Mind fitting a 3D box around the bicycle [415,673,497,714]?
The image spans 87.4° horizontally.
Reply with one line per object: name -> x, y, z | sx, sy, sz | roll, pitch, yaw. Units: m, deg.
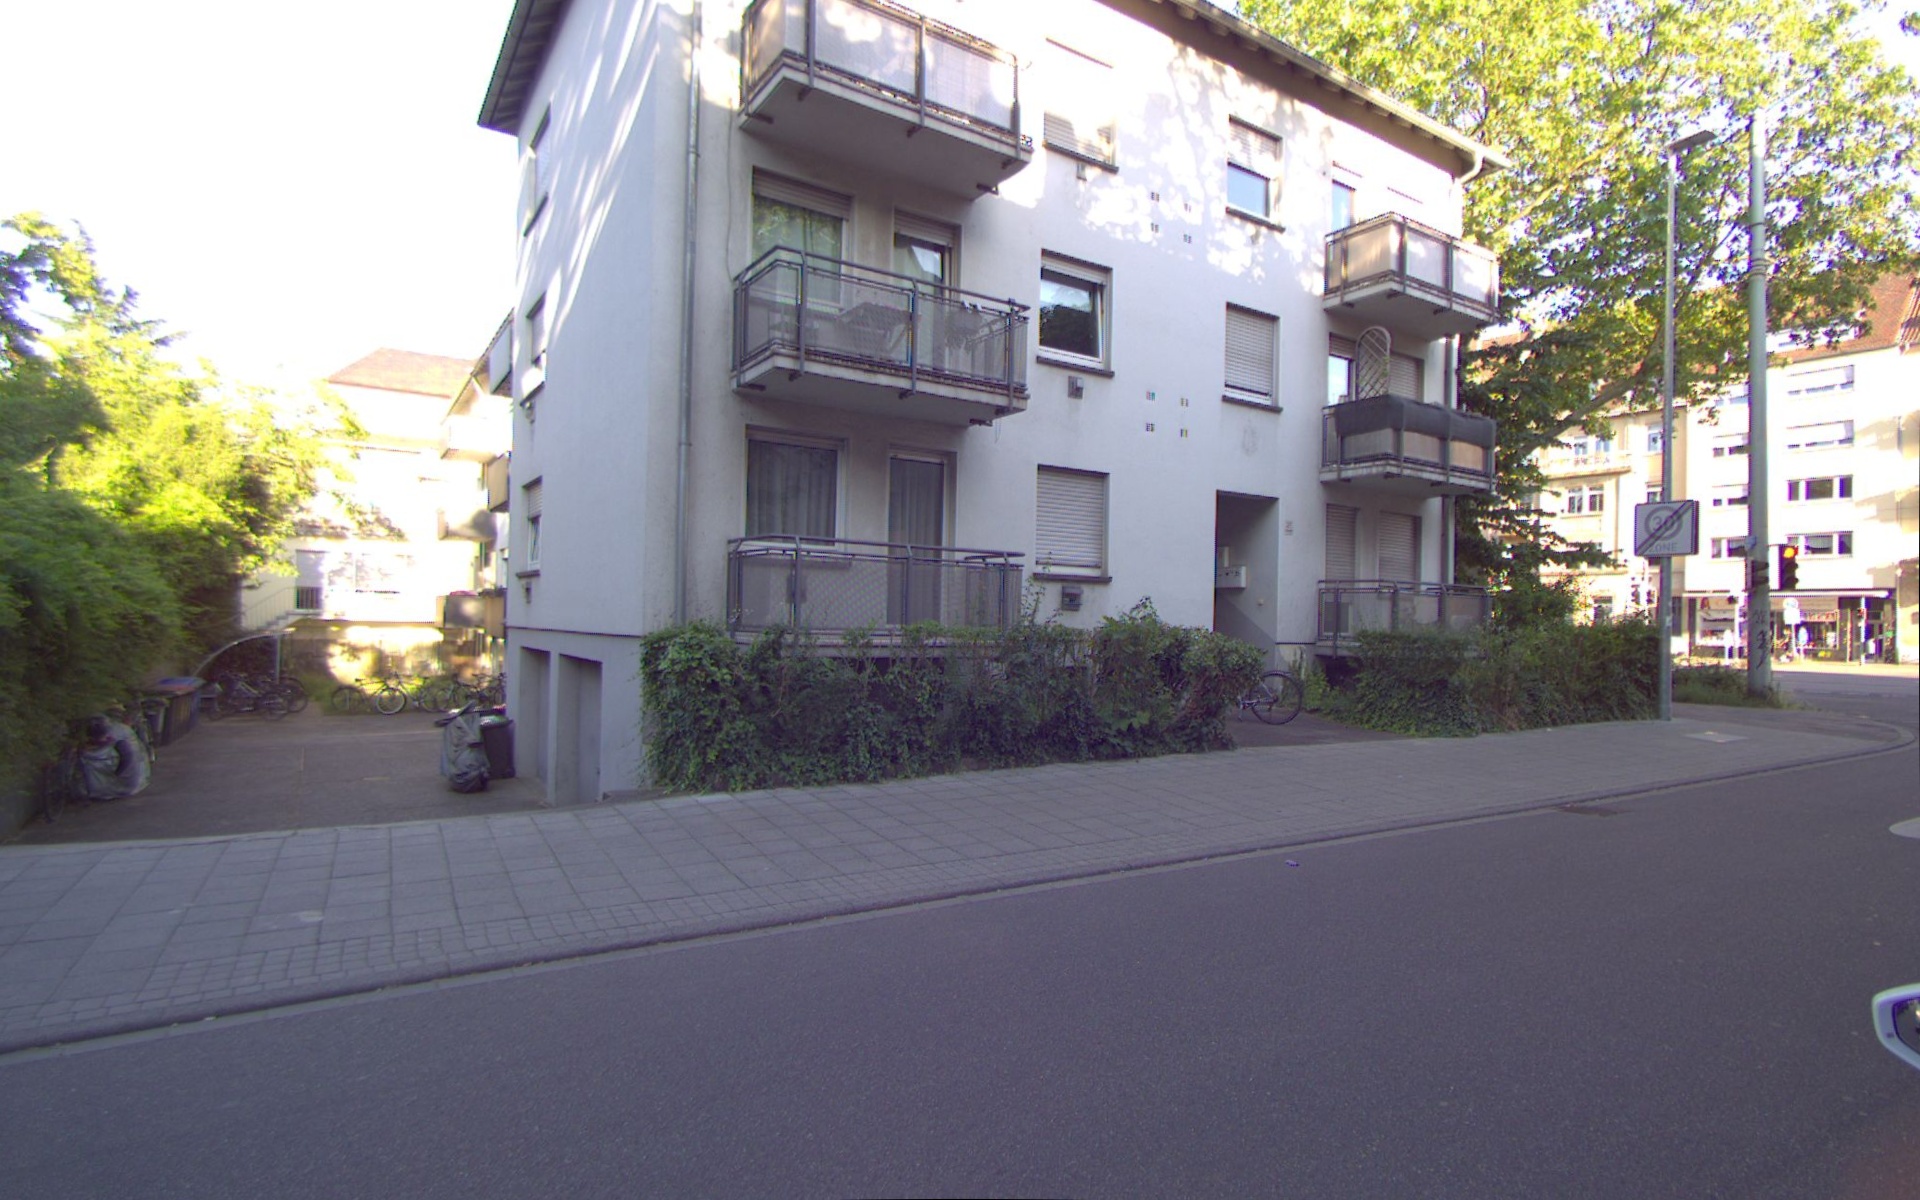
bicycle -> -13.913, 2.566, 27.752 | 1.982, 1.085, 0.561 | 2, -4, -30

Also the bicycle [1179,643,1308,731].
bicycle -> 3.829, 1.151, 13.578 | 1.590, 1.022, 0.517 | 3, 1, 20

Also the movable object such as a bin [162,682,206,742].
movable object such as a bin -> -15.490, 2.219, 20.061 | 0.606, 1.129, 0.795 | 1, -3, -33

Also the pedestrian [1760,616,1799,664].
pedestrian -> 43.720, 2.120, 53.600 | 1.049, 2.497, 1.338 | 1, 0, -34

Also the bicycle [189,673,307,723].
bicycle -> -17.337, 2.375, 24.533 | 2.268, 1.148, 0.689 | 2, -4, -30

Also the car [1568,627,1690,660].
car -> 32.966, 2.122, 49.617 | 1.818, 1.479, 4.672 | 1, -1, -35

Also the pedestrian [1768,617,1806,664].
pedestrian -> 44.673, 2.163, 54.242 | 1.049, 2.497, 1.338 | 1, 0, -34

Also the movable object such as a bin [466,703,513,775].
movable object such as a bin -> -7.917, 2.324, 16.909 | 0.606, 1.129, 0.795 | 1, -3, -33

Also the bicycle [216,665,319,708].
bicycle -> -19.643, 2.441, 28.548 | 2.311, 1.192, 0.689 | 2, -4, -30

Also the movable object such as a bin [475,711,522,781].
movable object such as a bin -> -7.401, 2.324, 16.097 | 0.606, 1.051, 0.534 | 1, -3, -34

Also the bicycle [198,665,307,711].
bicycle -> -19.027, 2.346, 27.098 | 2.311, 1.192, 0.689 | 2, -4, -30

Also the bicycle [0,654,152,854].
bicycle -> -10.602, 1.653, 11.986 | 0.961, 1.917, 4.156 | 1, -2, -32

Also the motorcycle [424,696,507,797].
motorcycle -> -7.405, 2.149, 15.014 | 0.739, 1.313, 1.563 | 2, -2, -41

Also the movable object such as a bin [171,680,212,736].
movable object such as a bin -> -16.363, 2.281, 21.393 | 0.606, 1.129, 0.795 | 1, -3, -33

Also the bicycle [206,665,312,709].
bicycle -> -19.373, 2.390, 27.823 | 2.311, 1.192, 0.689 | 2, -4, -30

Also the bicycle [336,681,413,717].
bicycle -> -15.567, 2.618, 26.752 | 1.734, 0.890, 0.561 | 2, -4, -30

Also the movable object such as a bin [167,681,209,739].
movable object such as a bin -> -15.931, 2.251, 20.731 | 0.606, 1.129, 0.795 | 1, -3, -33

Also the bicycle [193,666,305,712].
bicycle -> -18.601, 2.317, 26.352 | 2.311, 1.148, 0.689 | 2, -4, -30
